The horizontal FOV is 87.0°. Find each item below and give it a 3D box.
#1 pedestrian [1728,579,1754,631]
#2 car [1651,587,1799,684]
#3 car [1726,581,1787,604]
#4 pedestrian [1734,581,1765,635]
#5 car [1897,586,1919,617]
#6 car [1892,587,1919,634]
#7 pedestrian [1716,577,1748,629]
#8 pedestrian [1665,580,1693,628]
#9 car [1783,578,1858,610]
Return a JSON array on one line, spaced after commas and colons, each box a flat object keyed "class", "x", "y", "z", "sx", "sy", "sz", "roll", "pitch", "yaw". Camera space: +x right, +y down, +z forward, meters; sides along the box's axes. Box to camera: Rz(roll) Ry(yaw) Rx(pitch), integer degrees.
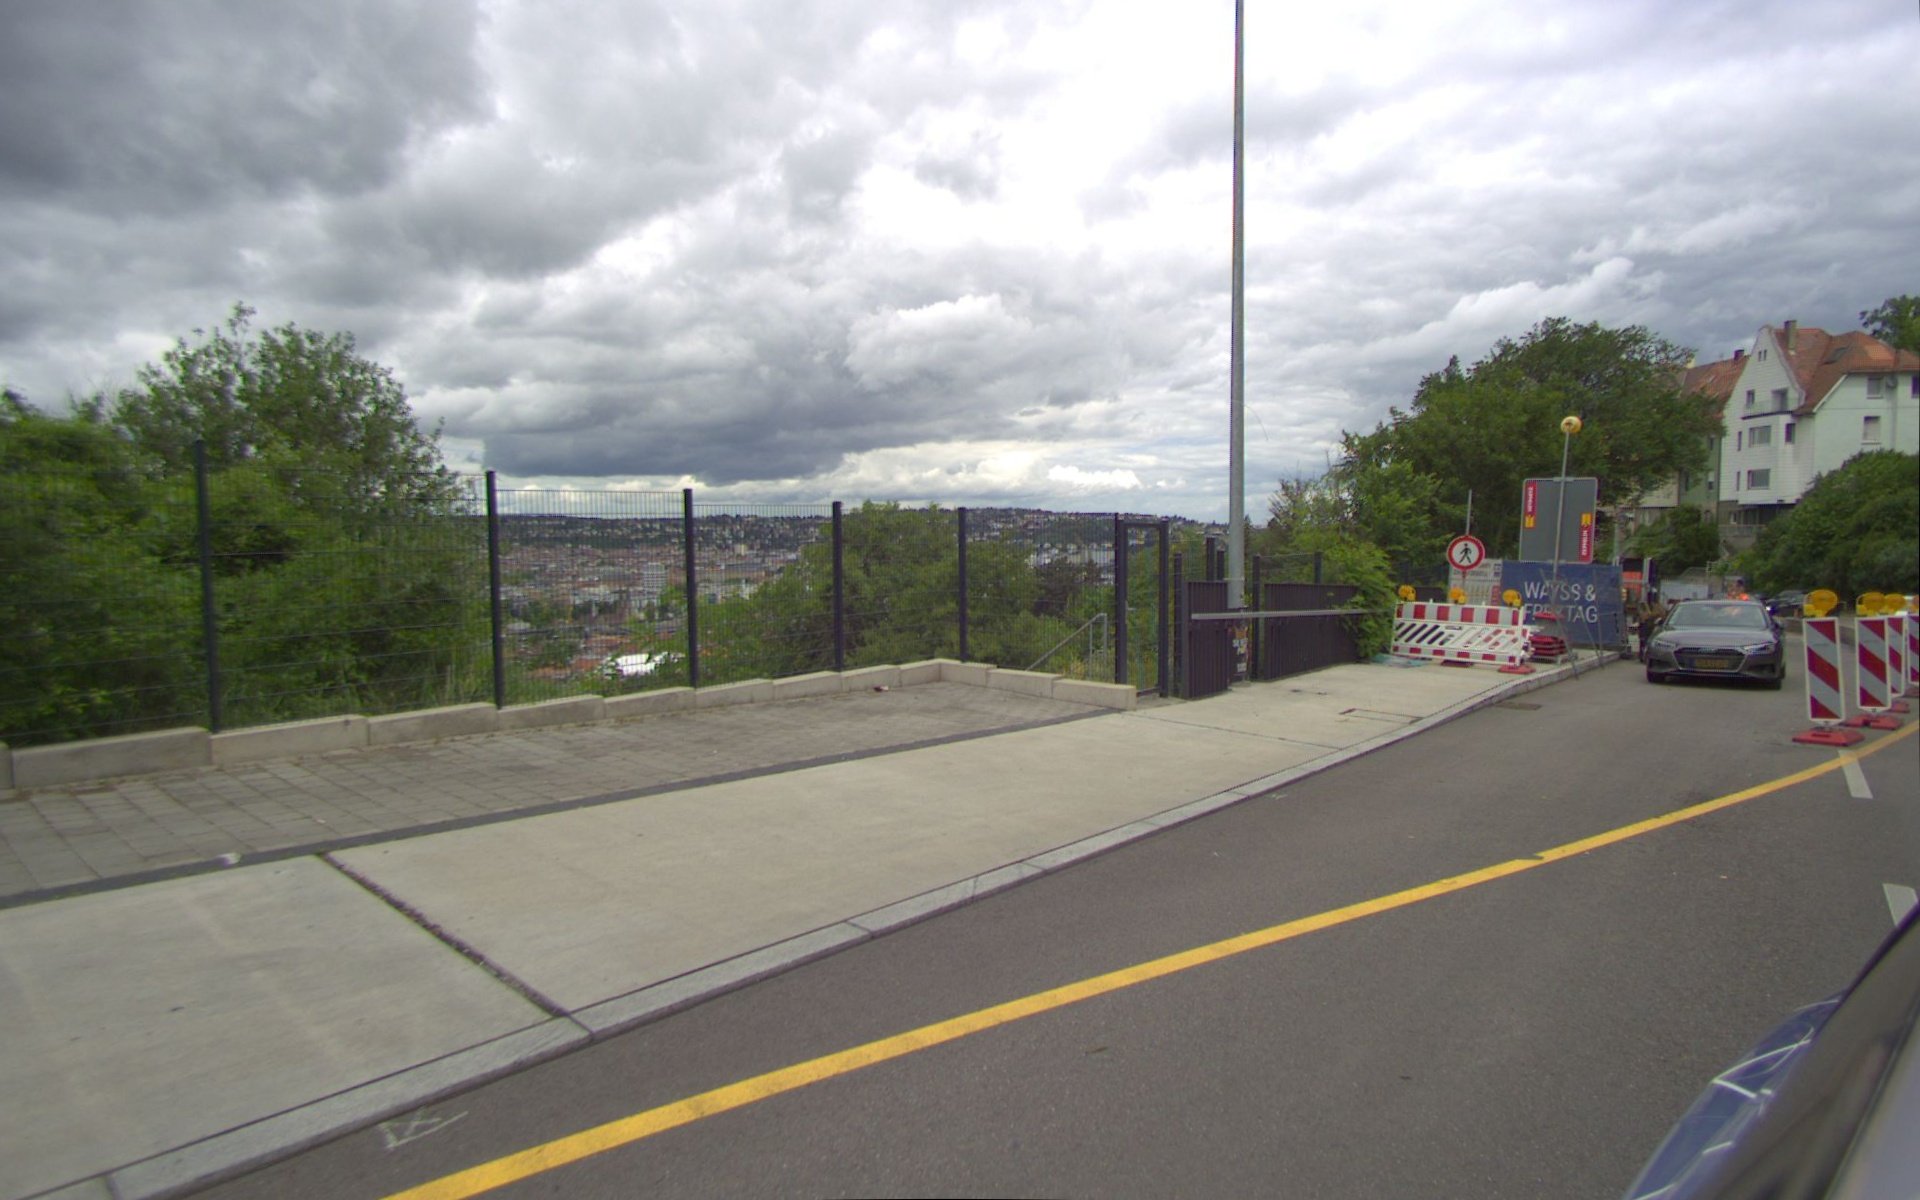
[{"class": "pedestrian", "x": 28.609, "y": 0.161, "z": 37.081, "sx": 0.522, "sy": 1.865, "sz": 0.788, "roll": 4, "pitch": 2, "yaw": 29}, {"class": "car", "x": 13.545, "y": 0.517, "z": 17.819, "sx": 1.838, "sy": 1.473, "sz": 4.560, "roll": 1, "pitch": 1, "yaw": 40}, {"class": "car", "x": 54.617, "y": -0.539, "z": 69.469, "sx": 1.657, "sy": 1.434, "sz": 3.778, "roll": -4, "pitch": 0, "yaw": 12}, {"class": "pedestrian", "x": 28.206, "y": 0.274, "z": 36.152, "sx": 0.635, "sy": 1.882, "sz": 0.826, "roll": 4, "pitch": 2, "yaw": 29}, {"class": "car", "x": 48.291, "y": 0.046, "z": 49.908, "sx": 1.804, "sy": 1.452, "sz": 3.686, "roll": -4, "pitch": -1, "yaw": 23}, {"class": "car", "x": 34.567, "y": 0.330, "z": 35.989, "sx": 1.878, "sy": 1.598, "sz": 3.943, "roll": 0, "pitch": 1, "yaw": 40}, {"class": "pedestrian", "x": 29.038, "y": 0.132, "z": 38.071, "sx": 0.607, "sy": 1.909, "sz": 0.718, "roll": 3, "pitch": -1, "yaw": 0}, {"class": "pedestrian", "x": 27.800, "y": 0.162, "z": 39.143, "sx": 0.637, "sy": 1.816, "sz": 0.641, "roll": -2, "pitch": 0, "yaw": 15}, {"class": "car", "x": 48.994, "y": -0.365, "z": 57.721, "sx": 1.745, "sy": 1.616, "sz": 3.773, "roll": -4, "pitch": 0, "yaw": 16}]
